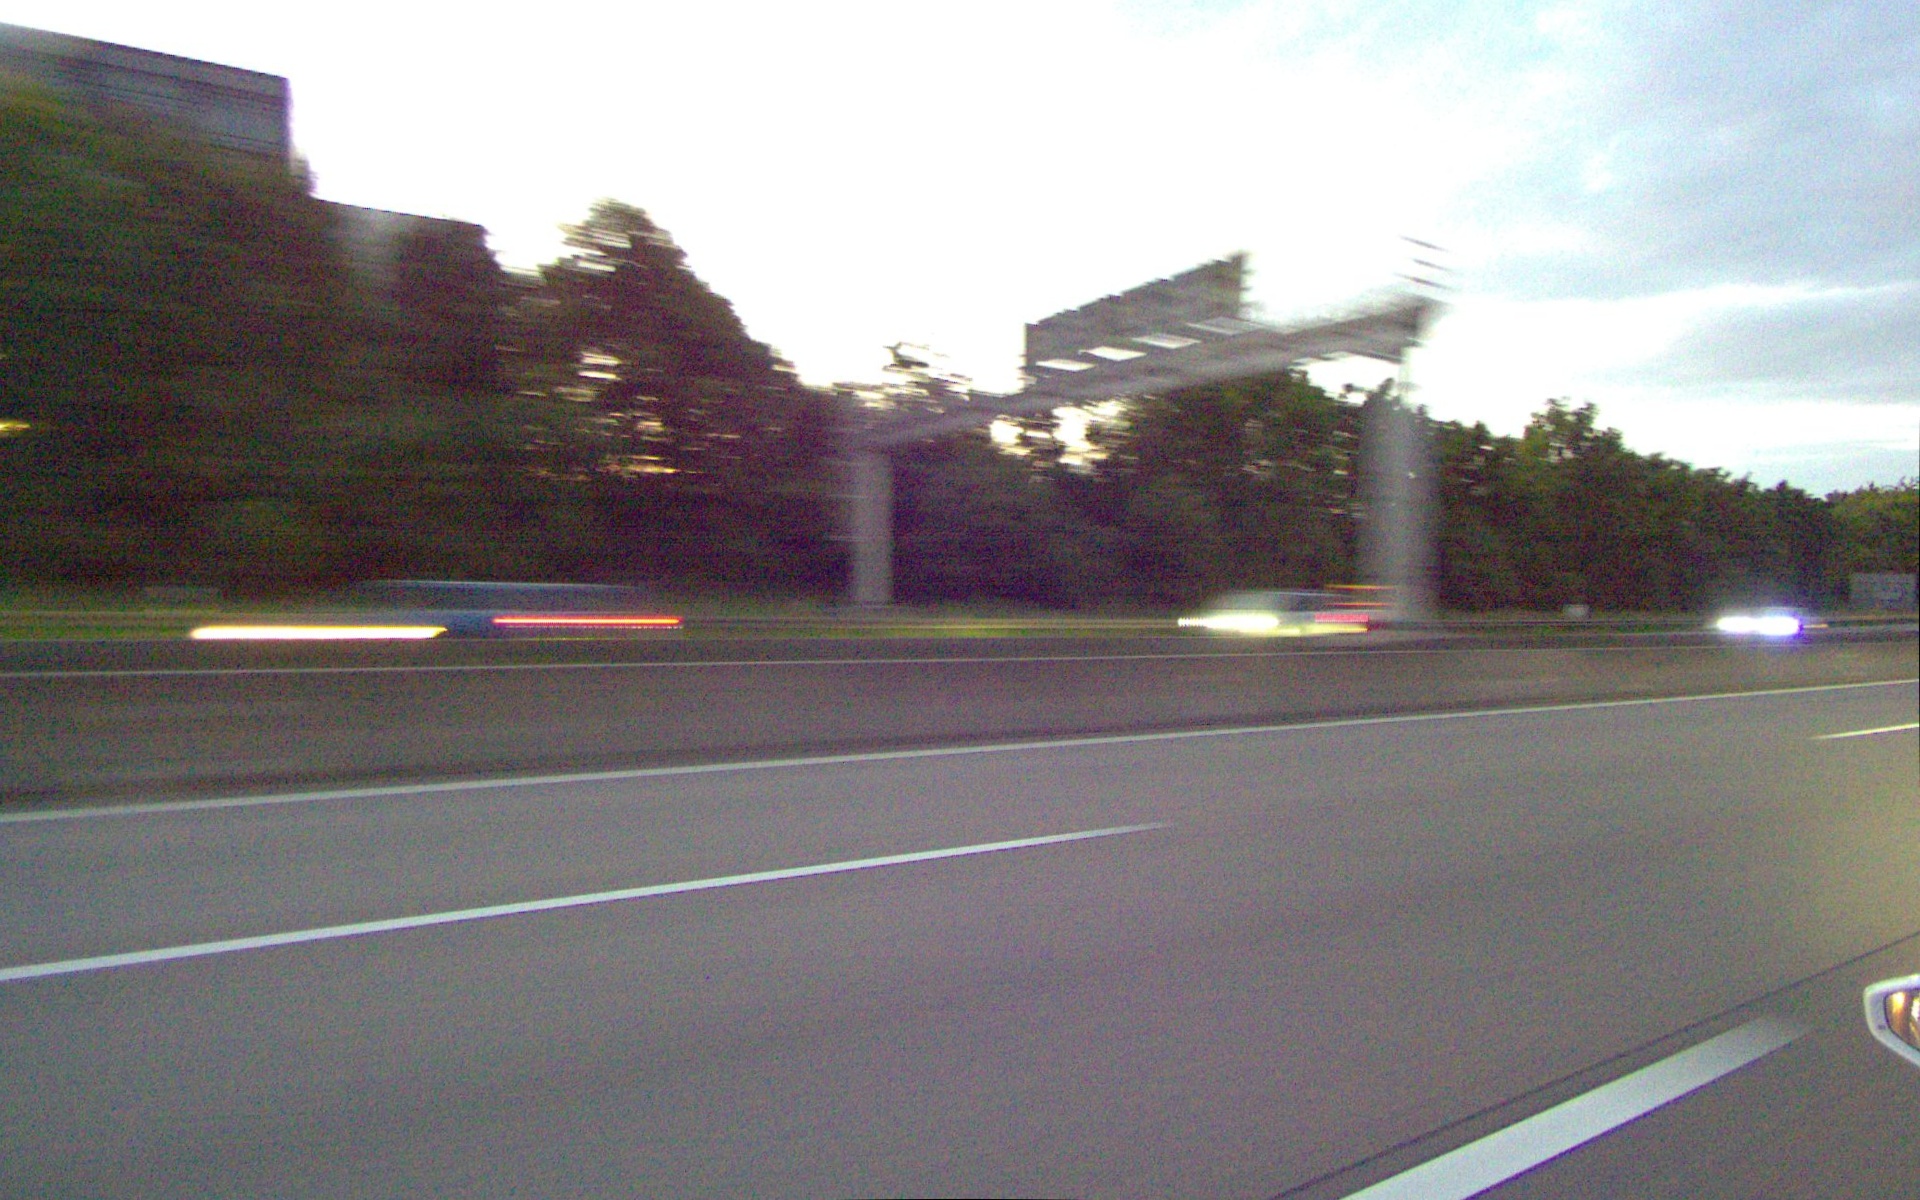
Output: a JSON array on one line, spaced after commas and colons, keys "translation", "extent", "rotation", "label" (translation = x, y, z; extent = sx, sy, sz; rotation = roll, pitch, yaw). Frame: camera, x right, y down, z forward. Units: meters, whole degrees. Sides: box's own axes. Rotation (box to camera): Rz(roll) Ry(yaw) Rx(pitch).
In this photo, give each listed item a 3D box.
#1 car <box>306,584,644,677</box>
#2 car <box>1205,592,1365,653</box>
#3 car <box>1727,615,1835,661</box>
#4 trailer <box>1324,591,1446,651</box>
[{"translation": [-7.953, 0.503, 16.773], "extent": [4.840, 1.372, 1.681], "rotation": [2, 0, -30], "label": "car"}, {"translation": [10.890, 0.764, 33.510], "extent": [5.459, 1.892, 1.903], "rotation": [2, 0, -30], "label": "car"}, {"translation": [36.482, 1.683, 44.566], "extent": [5.949, 1.892, 1.902], "rotation": [2, 0, -32], "label": "car"}, {"translation": [15.474, 0.761, 36.523], "extent": [4.191, 2.029, 1.903], "rotation": [1, 2, -30], "label": "trailer"}]
